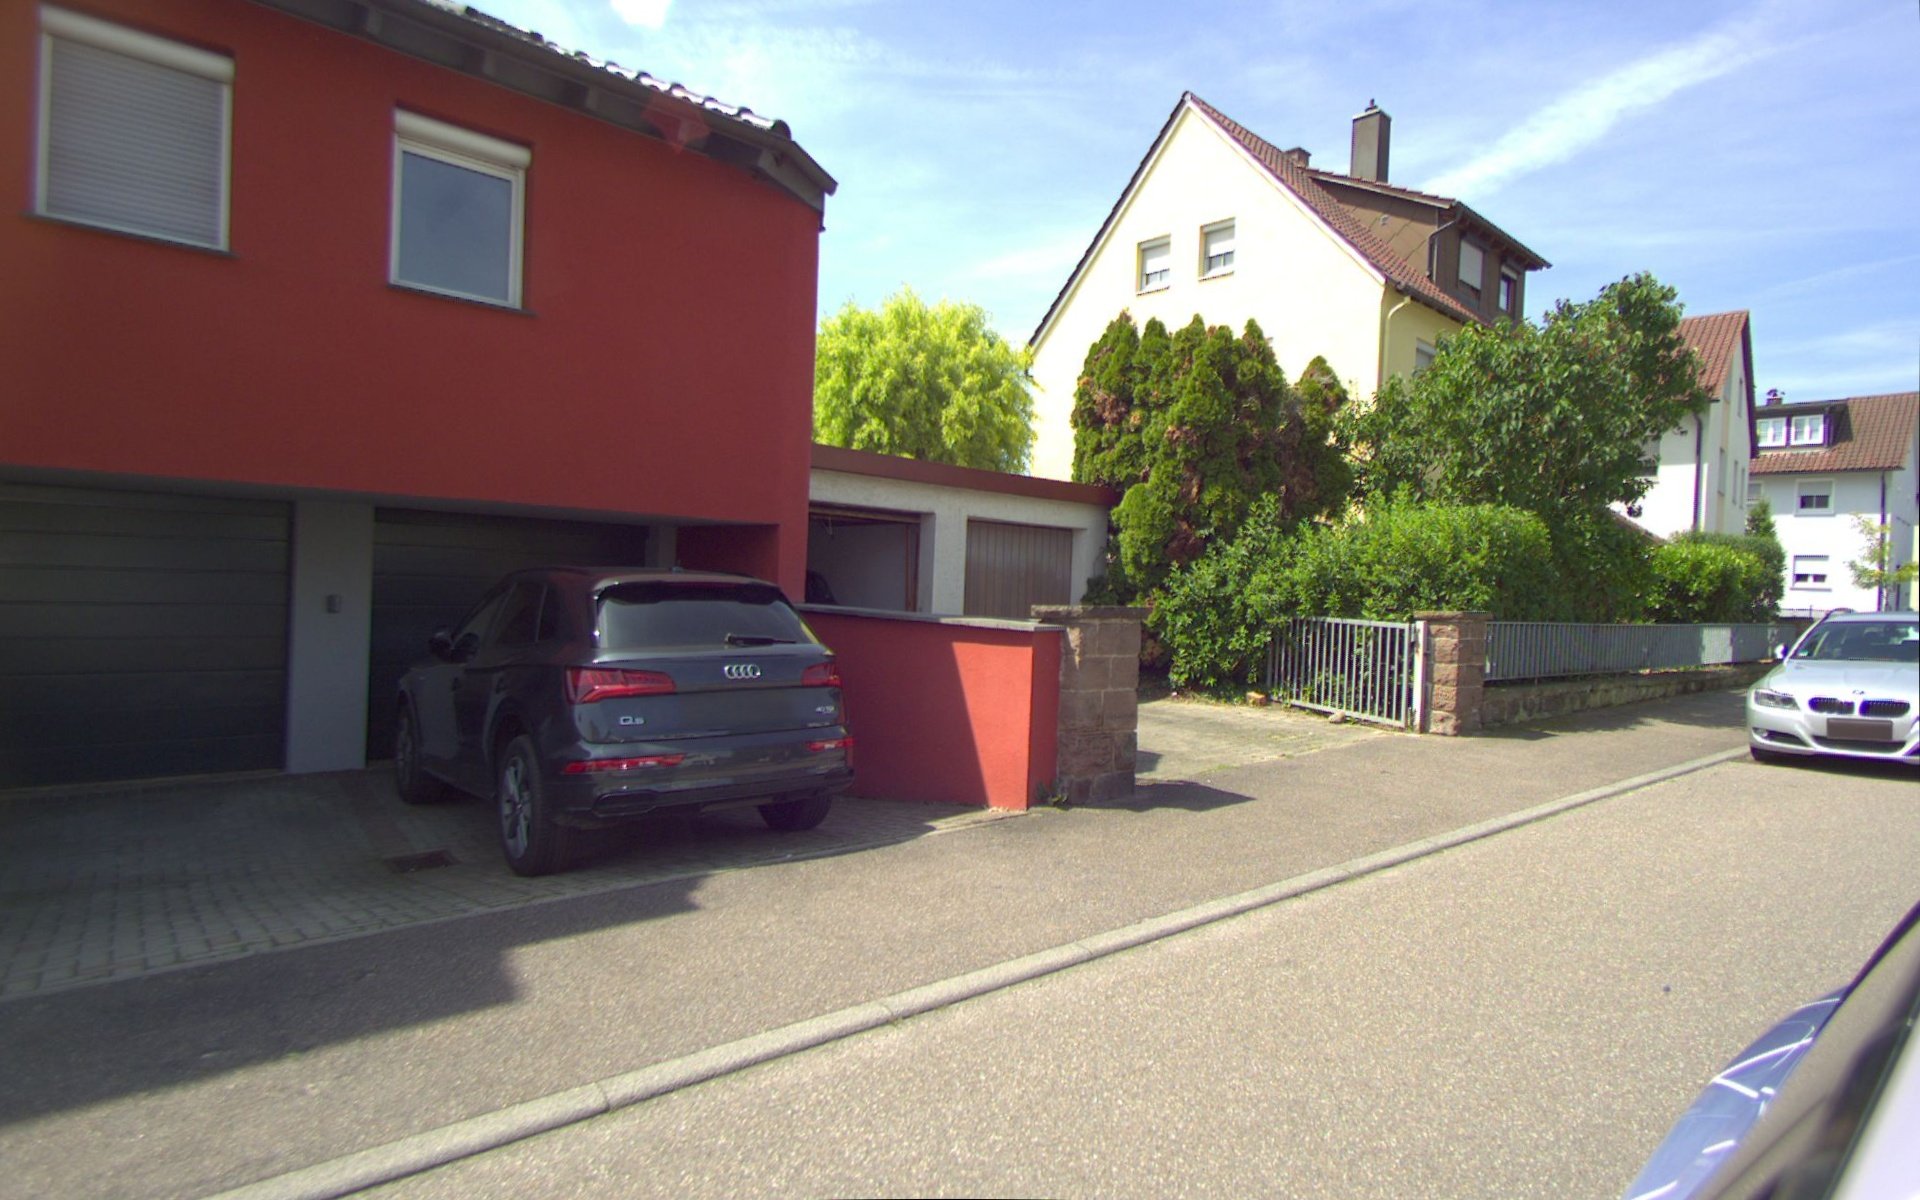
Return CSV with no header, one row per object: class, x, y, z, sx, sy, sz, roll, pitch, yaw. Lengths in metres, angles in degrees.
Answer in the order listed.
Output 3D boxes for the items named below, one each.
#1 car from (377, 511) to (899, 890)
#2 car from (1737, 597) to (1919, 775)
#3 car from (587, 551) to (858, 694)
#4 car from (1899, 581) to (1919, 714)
car,-2.466,0.589,6.821,1.843,1.691,4.374,0,-4,-40
car,9.258,0.702,9.845,4.341,1.439,1.755,0,0,-39
car,-3.164,0.181,12.937,1.757,1.484,3.964,2,2,-40
car,14.257,0.612,13.653,4.258,1.683,1.740,0,0,-39
